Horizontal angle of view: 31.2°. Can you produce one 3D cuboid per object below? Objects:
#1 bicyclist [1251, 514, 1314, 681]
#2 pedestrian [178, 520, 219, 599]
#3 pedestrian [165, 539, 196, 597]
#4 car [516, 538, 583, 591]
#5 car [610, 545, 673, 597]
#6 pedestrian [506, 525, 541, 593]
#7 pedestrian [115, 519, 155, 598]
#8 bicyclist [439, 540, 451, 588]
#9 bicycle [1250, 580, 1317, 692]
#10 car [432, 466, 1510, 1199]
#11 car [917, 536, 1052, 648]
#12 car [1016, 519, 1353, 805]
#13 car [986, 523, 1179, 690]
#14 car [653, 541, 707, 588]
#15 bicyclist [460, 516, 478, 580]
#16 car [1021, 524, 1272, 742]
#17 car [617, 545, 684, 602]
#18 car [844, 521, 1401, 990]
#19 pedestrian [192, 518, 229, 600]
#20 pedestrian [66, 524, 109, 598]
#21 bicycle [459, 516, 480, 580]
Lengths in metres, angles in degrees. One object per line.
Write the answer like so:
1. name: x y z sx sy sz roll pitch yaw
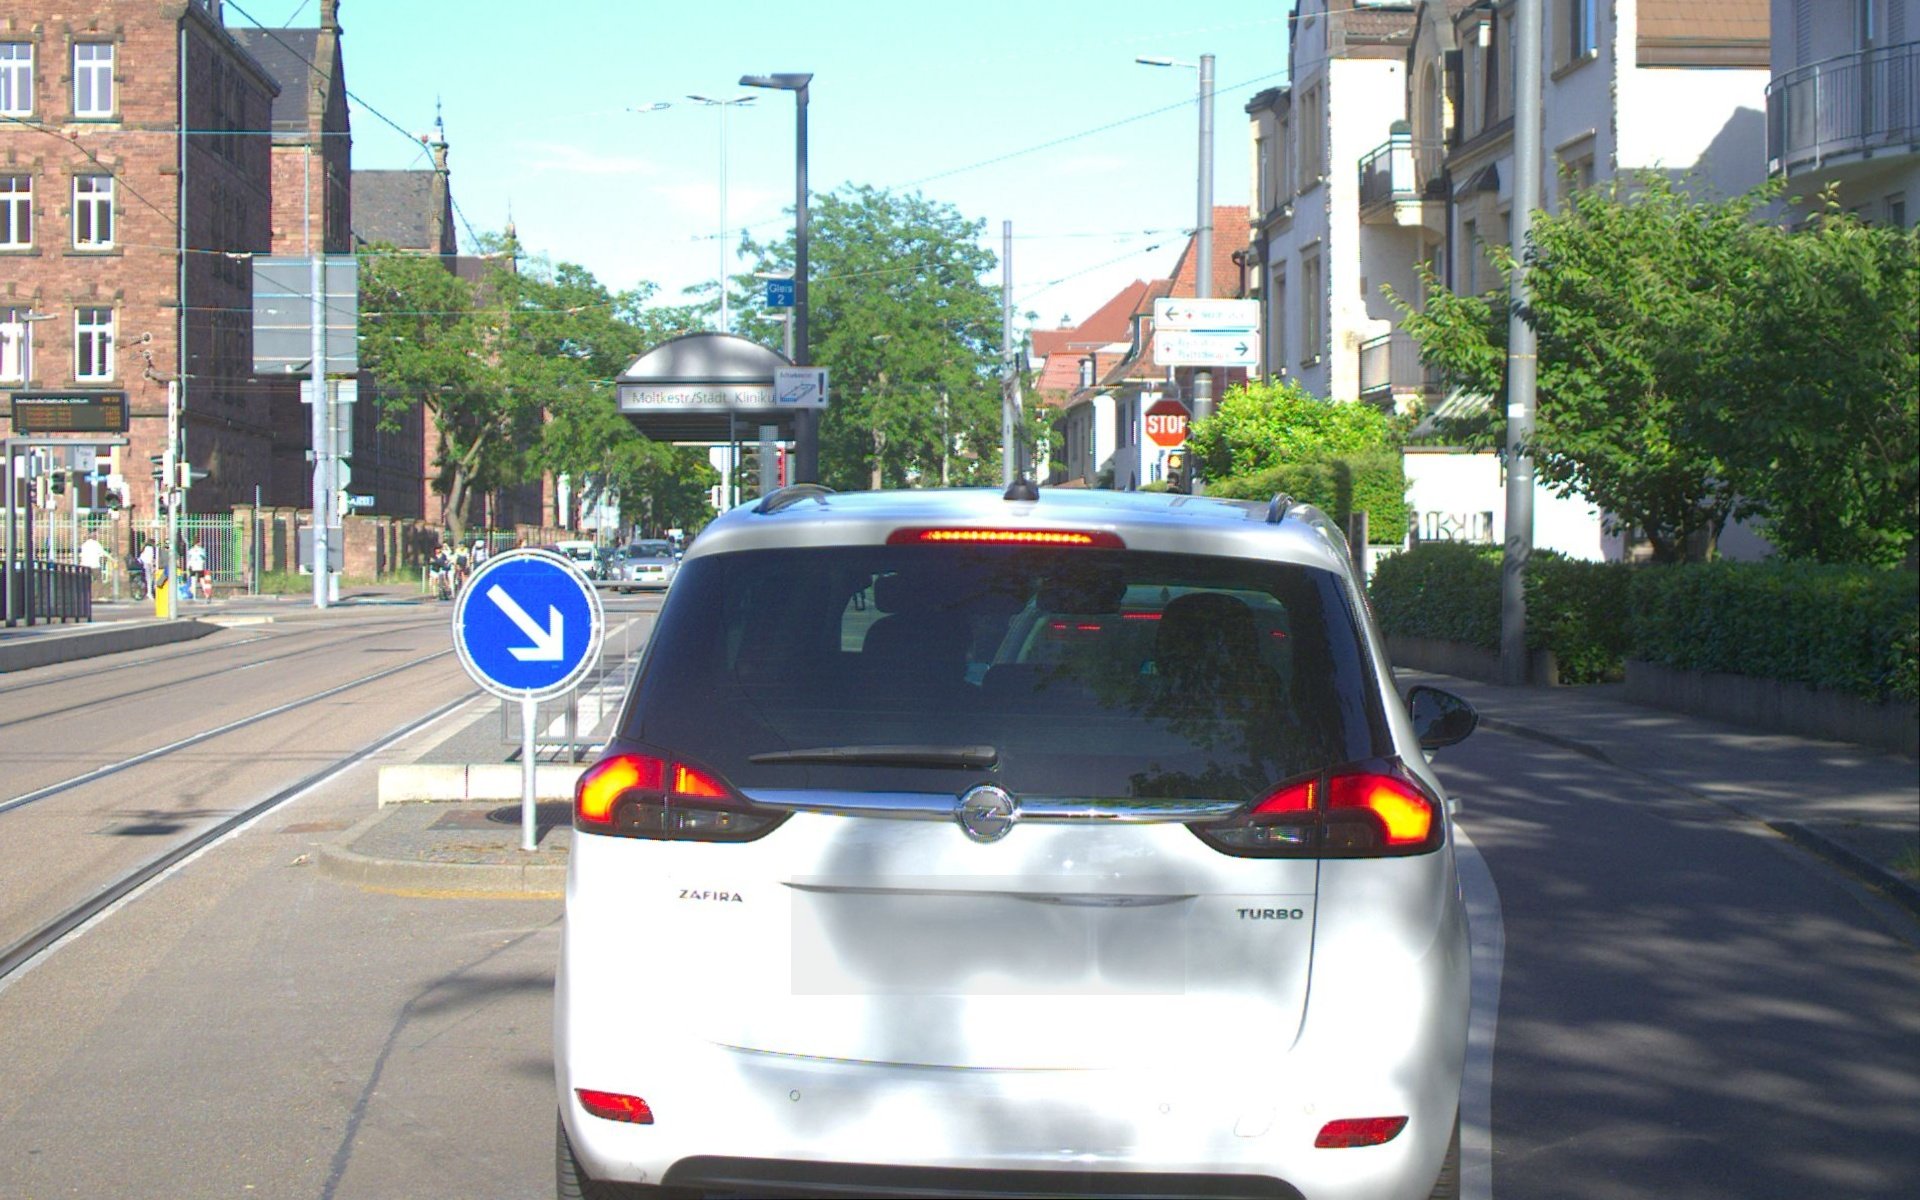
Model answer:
1. bicyclist: 3.298 -0.034 35.174 0.616 1.681 0.779 0 1 4
2. pedestrian: -19.714 -1.048 88.973 0.795 2.007 0.720 1 0 -37
3. pedestrian: -21.606 -0.882 95.306 0.654 1.606 0.711 1 0 2
4. car: -13.555 -1.179 113.716 1.746 1.710 4.000 1 1 -1
5. car: -10.654 -0.973 115.222 1.746 1.710 4.000 1 1 -1
6. pedestrian: -12.330 -1.164 97.021 0.741 1.894 0.811 1 0 -25
7. pedestrian: -21.200 -1.063 88.350 0.795 2.007 0.720 1 0 -34
8. bicyclist: -15.428 -1.087 103.047 0.313 1.439 0.384 0 1 -1
9. bicycle: 3.302 0.350 35.189 0.624 1.093 1.973 0 1 4
10. car: 0.232 0.557 8.041 1.907 1.656 3.999 0 1 7
11. car: 0.337 -0.160 53.094 1.907 1.656 4.001 0 1 -2
12. car: 1.505 0.315 21.646 1.907 1.619 3.999 0 1 7
13. car: 1.242 0.029 36.116 1.907 1.656 4.000 0 1 1
14. car: -10.491 -1.323 129.074 1.746 1.710 4.000 1 1 -1
15. bicyclist: -15.589 -1.656 109.159 0.498 2.007 0.572 0 1 -1
16. car: 1.566 0.212 28.279 1.907 1.656 4.000 0 1 4
17. car: -9.642 -0.842 107.366 1.746 1.710 4.000 1 1 -1
18. car: 0.781 0.490 13.779 1.907 1.592 3.999 0 1 7
19. pedestrian: -18.530 -1.019 84.979 0.794 2.007 0.721 1 0 -17
20. pedestrian: -22.595 -1.011 89.017 0.808 1.894 0.743 1 0 14
21. bicycle: -15.584 -1.656 109.197 0.487 2.007 1.405 0 1 0
